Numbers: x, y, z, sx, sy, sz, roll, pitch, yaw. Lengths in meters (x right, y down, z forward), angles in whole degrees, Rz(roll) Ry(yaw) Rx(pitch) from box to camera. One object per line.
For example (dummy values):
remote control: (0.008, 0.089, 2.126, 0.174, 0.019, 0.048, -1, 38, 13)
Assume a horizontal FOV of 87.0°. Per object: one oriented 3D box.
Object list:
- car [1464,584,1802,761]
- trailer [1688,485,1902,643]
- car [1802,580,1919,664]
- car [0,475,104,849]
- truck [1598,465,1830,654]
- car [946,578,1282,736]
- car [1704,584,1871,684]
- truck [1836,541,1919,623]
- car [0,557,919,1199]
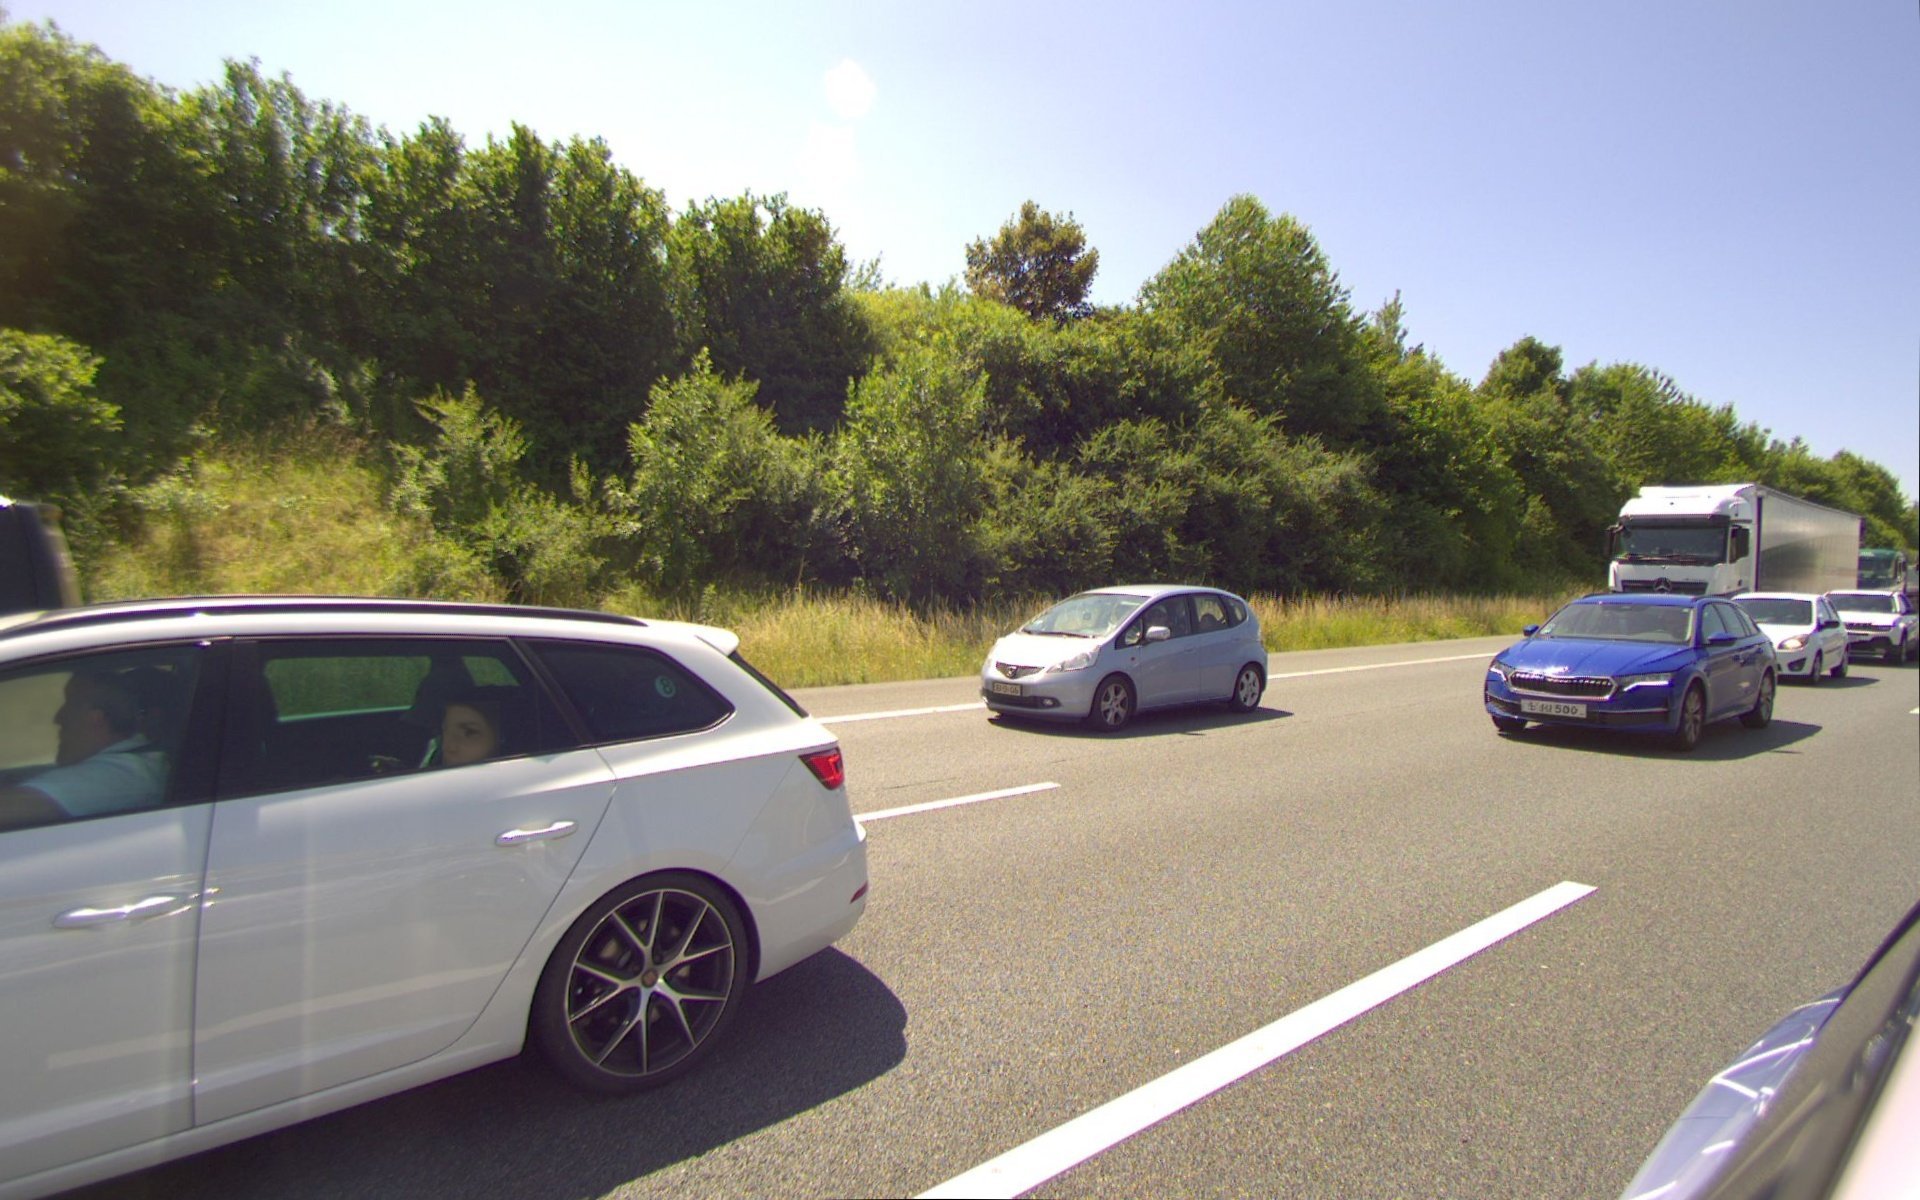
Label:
car: (7.330, 0.593, 10.845, 4.491, 1.434, 1.780, -1, 3, -40)
trailer: (26.470, -1.056, 31.749, 11.858, 4.208, 2.880, -1, 1, -39)
car: (19.732, 0.402, 21.805, 3.816, 1.577, 1.748, -1, 3, -40)
car: (-7.192, 0.345, 4.760, 4.770, 1.964, 1.918, -1, 2, -40)
truck: (19.796, -0.982, 26.343, 8.322, 4.208, 2.880, -1, 1, -39)
car: (1.859, 0.514, 11.542, 3.853, 1.479, 1.665, -1, 2, -41)
car: (14.243, 0.497, 17.362, 3.744, 1.451, 1.608, -1, 3, -41)
truck: (38.535, -0.741, 42.031, 5.573, 3.185, 2.299, -1, 1, -39)
car: (-2.316, 0.620, 2.799, 4.237, 1.461, 1.751, -1, 2, -40)
